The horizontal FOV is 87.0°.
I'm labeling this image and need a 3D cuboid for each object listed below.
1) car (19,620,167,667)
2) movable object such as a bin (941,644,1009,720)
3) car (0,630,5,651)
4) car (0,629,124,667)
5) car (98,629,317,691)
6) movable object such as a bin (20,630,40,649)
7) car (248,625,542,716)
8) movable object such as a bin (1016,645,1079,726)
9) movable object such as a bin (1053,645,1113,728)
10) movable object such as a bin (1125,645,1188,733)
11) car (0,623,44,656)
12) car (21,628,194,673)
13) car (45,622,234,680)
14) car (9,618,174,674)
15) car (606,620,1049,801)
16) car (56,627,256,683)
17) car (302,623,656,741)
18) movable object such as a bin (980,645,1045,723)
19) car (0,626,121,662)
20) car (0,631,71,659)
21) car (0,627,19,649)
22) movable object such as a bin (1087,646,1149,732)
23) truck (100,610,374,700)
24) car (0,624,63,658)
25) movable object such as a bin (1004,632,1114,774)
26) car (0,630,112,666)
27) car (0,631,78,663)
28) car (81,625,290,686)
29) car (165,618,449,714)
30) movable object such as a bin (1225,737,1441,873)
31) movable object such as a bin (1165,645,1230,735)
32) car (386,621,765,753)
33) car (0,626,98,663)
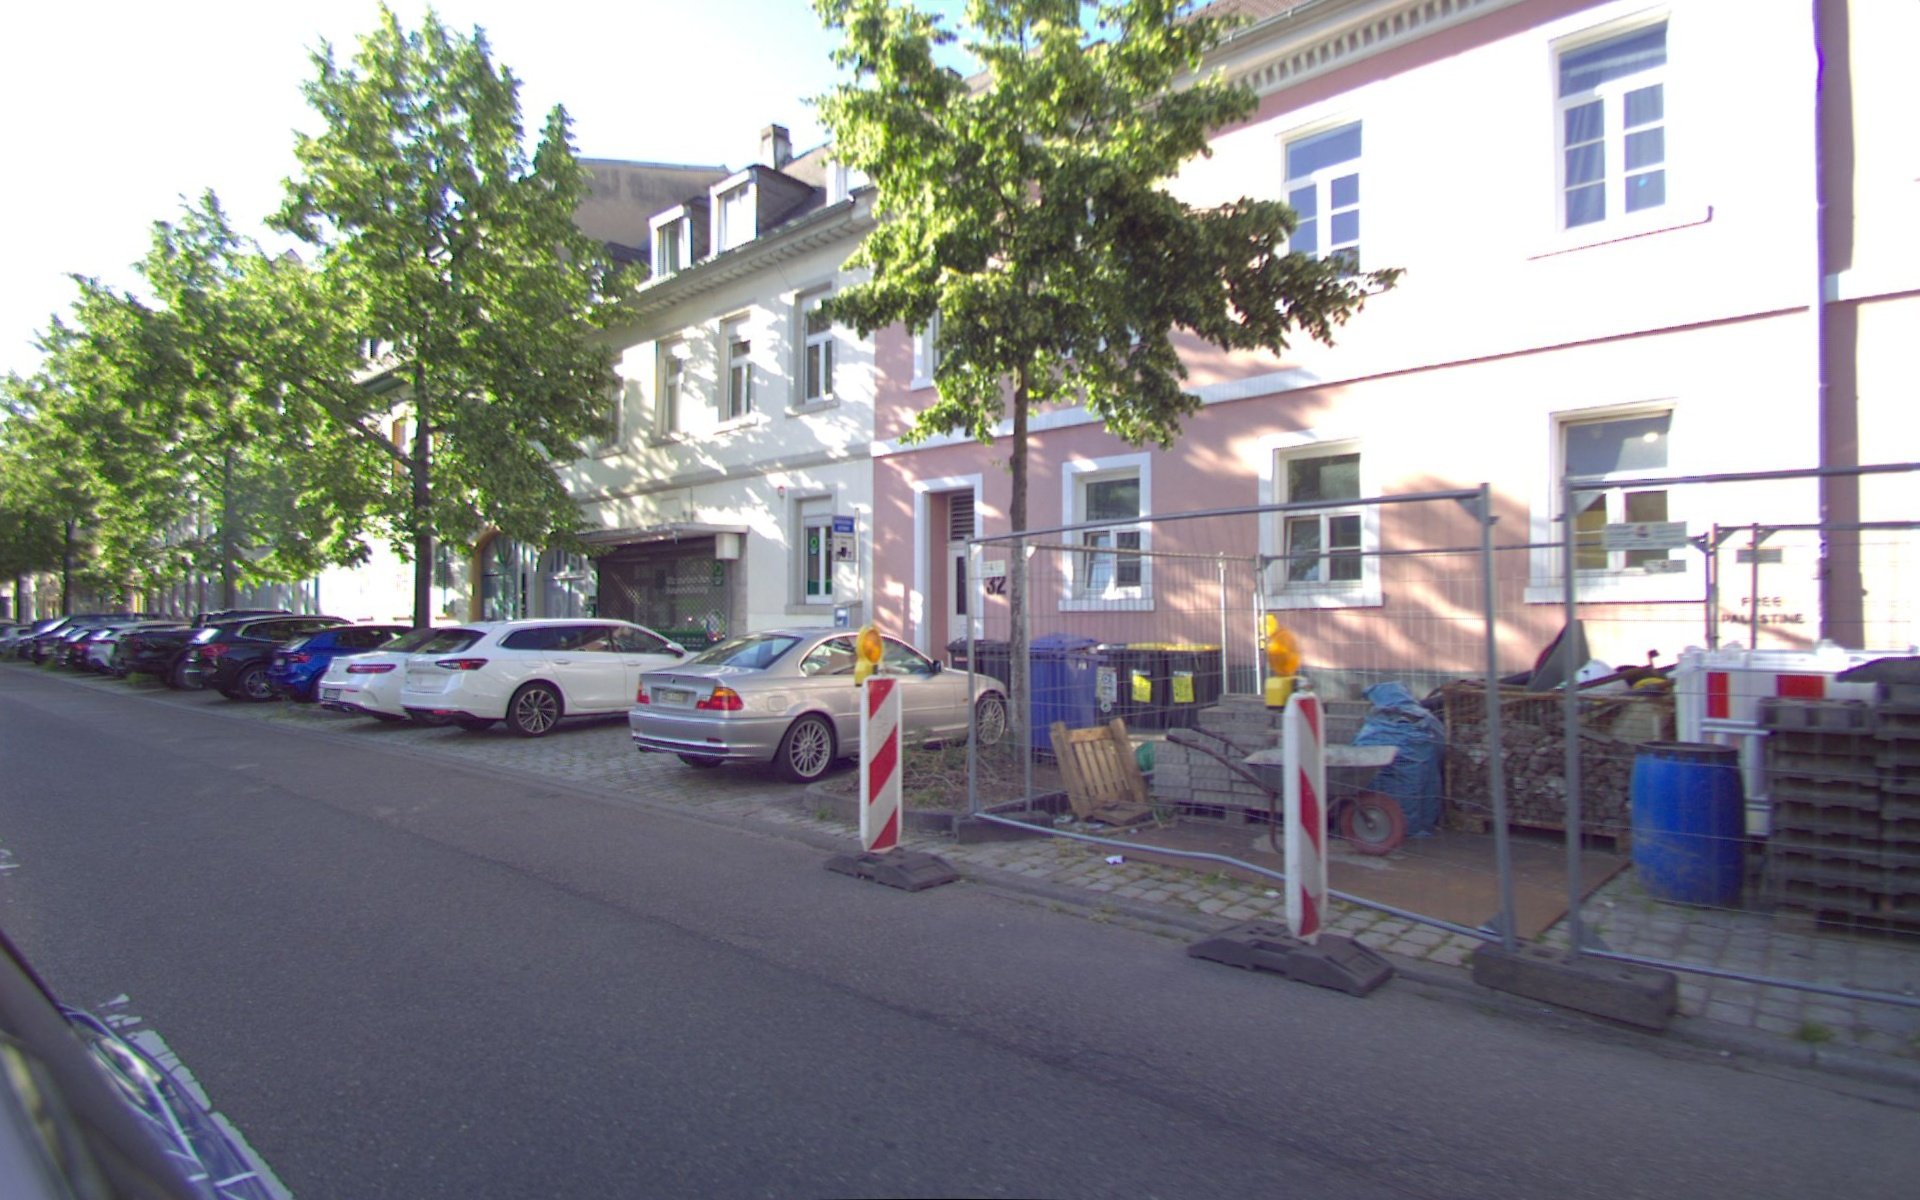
[{"bbox_3d":[-35.411,1.742,41.401,1.916,1.785,4.418,-2,-1,42],"label":"car"},{"bbox_3d":[0.215,1.187,14.841,0.731,1.068,0.688,-2,-3,42],"label":"movable object such as a bin"},{"bbox_3d":[-74.436,3.098,75.264,1.996,1.503,4.657,0,0,36],"label":"car"},{"bbox_3d":[-40.617,2.139,45.557,1.917,1.552,4.415,-2,-1,44],"label":"car"},{"bbox_3d":[-20.718,1.592,28.032,1.808,1.474,4.630,-2,-1,42],"label":"car"},{"bbox_3d":[-72.880,3.110,79.294,1.382,1.455,1.121,-2,-1,44],"label":"movable object such as a bin"},{"bbox_3d":[-10.723,1.261,19.494,1.808,1.474,4.630,-2,-1,42],"label":"car"},{"bbox_3d":[1.212,1.159,13.948,0.574,1.068,0.688,-2,-3,42],"label":"movable object such as a bin"},{"bbox_3d":[1.651,1.146,13.573,0.544,1.068,0.625,-2,-3,42],"label":"movable object such as a bin"},{"bbox_3d":[2.487,1.108,12.793,0.544,1.068,0.625,-2,-3,42],"label":"movable object such as a bin"},{"bbox_3d":[-57.838,2.348,60.465,1.930,1.941,4.523,-2,-1,43],"label":"car"},{"bbox_3d":[-30.751,1.769,36.615,1.683,1.470,4.597,-2,-1,41],"label":"car"},{"bbox_3d":[-26.951,1.623,33.371,1.808,1.725,4.630,-2,-1,42],"label":"car"},{"bbox_3d":[-33.379,1.709,38.993,1.916,1.965,4.630,-2,-1,42],"label":"car"},{"bbox_3d":[-1.116,0.943,10.556,1.806,1.423,4.635,-1,-1,39],"label":"car"},{"bbox_3d":[-24.761,1.651,31.303,1.808,1.531,4.630,-2,-1,42],"label":"car"},{"bbox_3d":[-7.206,1.131,15.612,1.806,1.476,4.635,-1,-1,38],"label":"car"},{"bbox_3d":[0.747,1.175,14.375,0.640,1.068,0.688,-2,-3,42],"label":"movable object such as a bin"},{"bbox_3d":[-43.877,2.113,49.415,1.808,1.594,4.294,-2,-1,41],"label":"car"},{"bbox_3d":[-51.854,2.474,55.564,1.915,1.450,4.296,-1,-1,39],"label":"car"},{"bbox_3d":[-69.111,2.711,70.856,1.956,1.556,4.310,-1,-1,29],"label":"car"},{"bbox_3d":[2.058,1.139,13.177,0.544,1.068,0.625,-2,-3,42],"label":"movable object such as a bin"},{"bbox_3d":[-17.287,1.279,24.450,1.999,1.953,5.032,-2,-3,40],"label":"truck"},{"bbox_3d":[-53.903,2.320,57.383,1.913,1.848,4.299,-1,-1,37],"label":"car"},{"bbox_3d":[0.891,0.884,9.058,0.743,1.195,0.725,-1,-3,32],"label":"movable object such as a bin"},{"bbox_3d":[-42.590,2.201,47.221,1.915,1.552,4.420,-2,-1,40],"label":"car"},{"bbox_3d":[-48.081,2.397,51.658,1.917,1.552,4.417,-2,-1,43],"label":"car"},{"bbox_3d":[-22.585,1.569,29.663,1.808,1.584,4.630,-2,-1,42],"label":"car"},{"bbox_3d":[-13.276,1.249,20.814,1.808,1.706,4.630,-2,-1,42],"label":"car"},{"bbox_3d":[2.246,1.203,6.135,1.077,0.621,0.621,-2,-3,41],"label":"movable object such as a bin"},{"bbox_3d":[2.915,1.087,12.429,0.544,1.068,0.625,-2,-3,42],"label":"movable object such as a bin"},{"bbox_3d":[-5.123,1.058,14.043,1.807,1.476,4.631,-2,-1,41],"label":"car"},{"bbox_3d":[-45.876,2.178,50.376,1.915,1.722,4.294,-2,-1,41],"label":"car"}]
